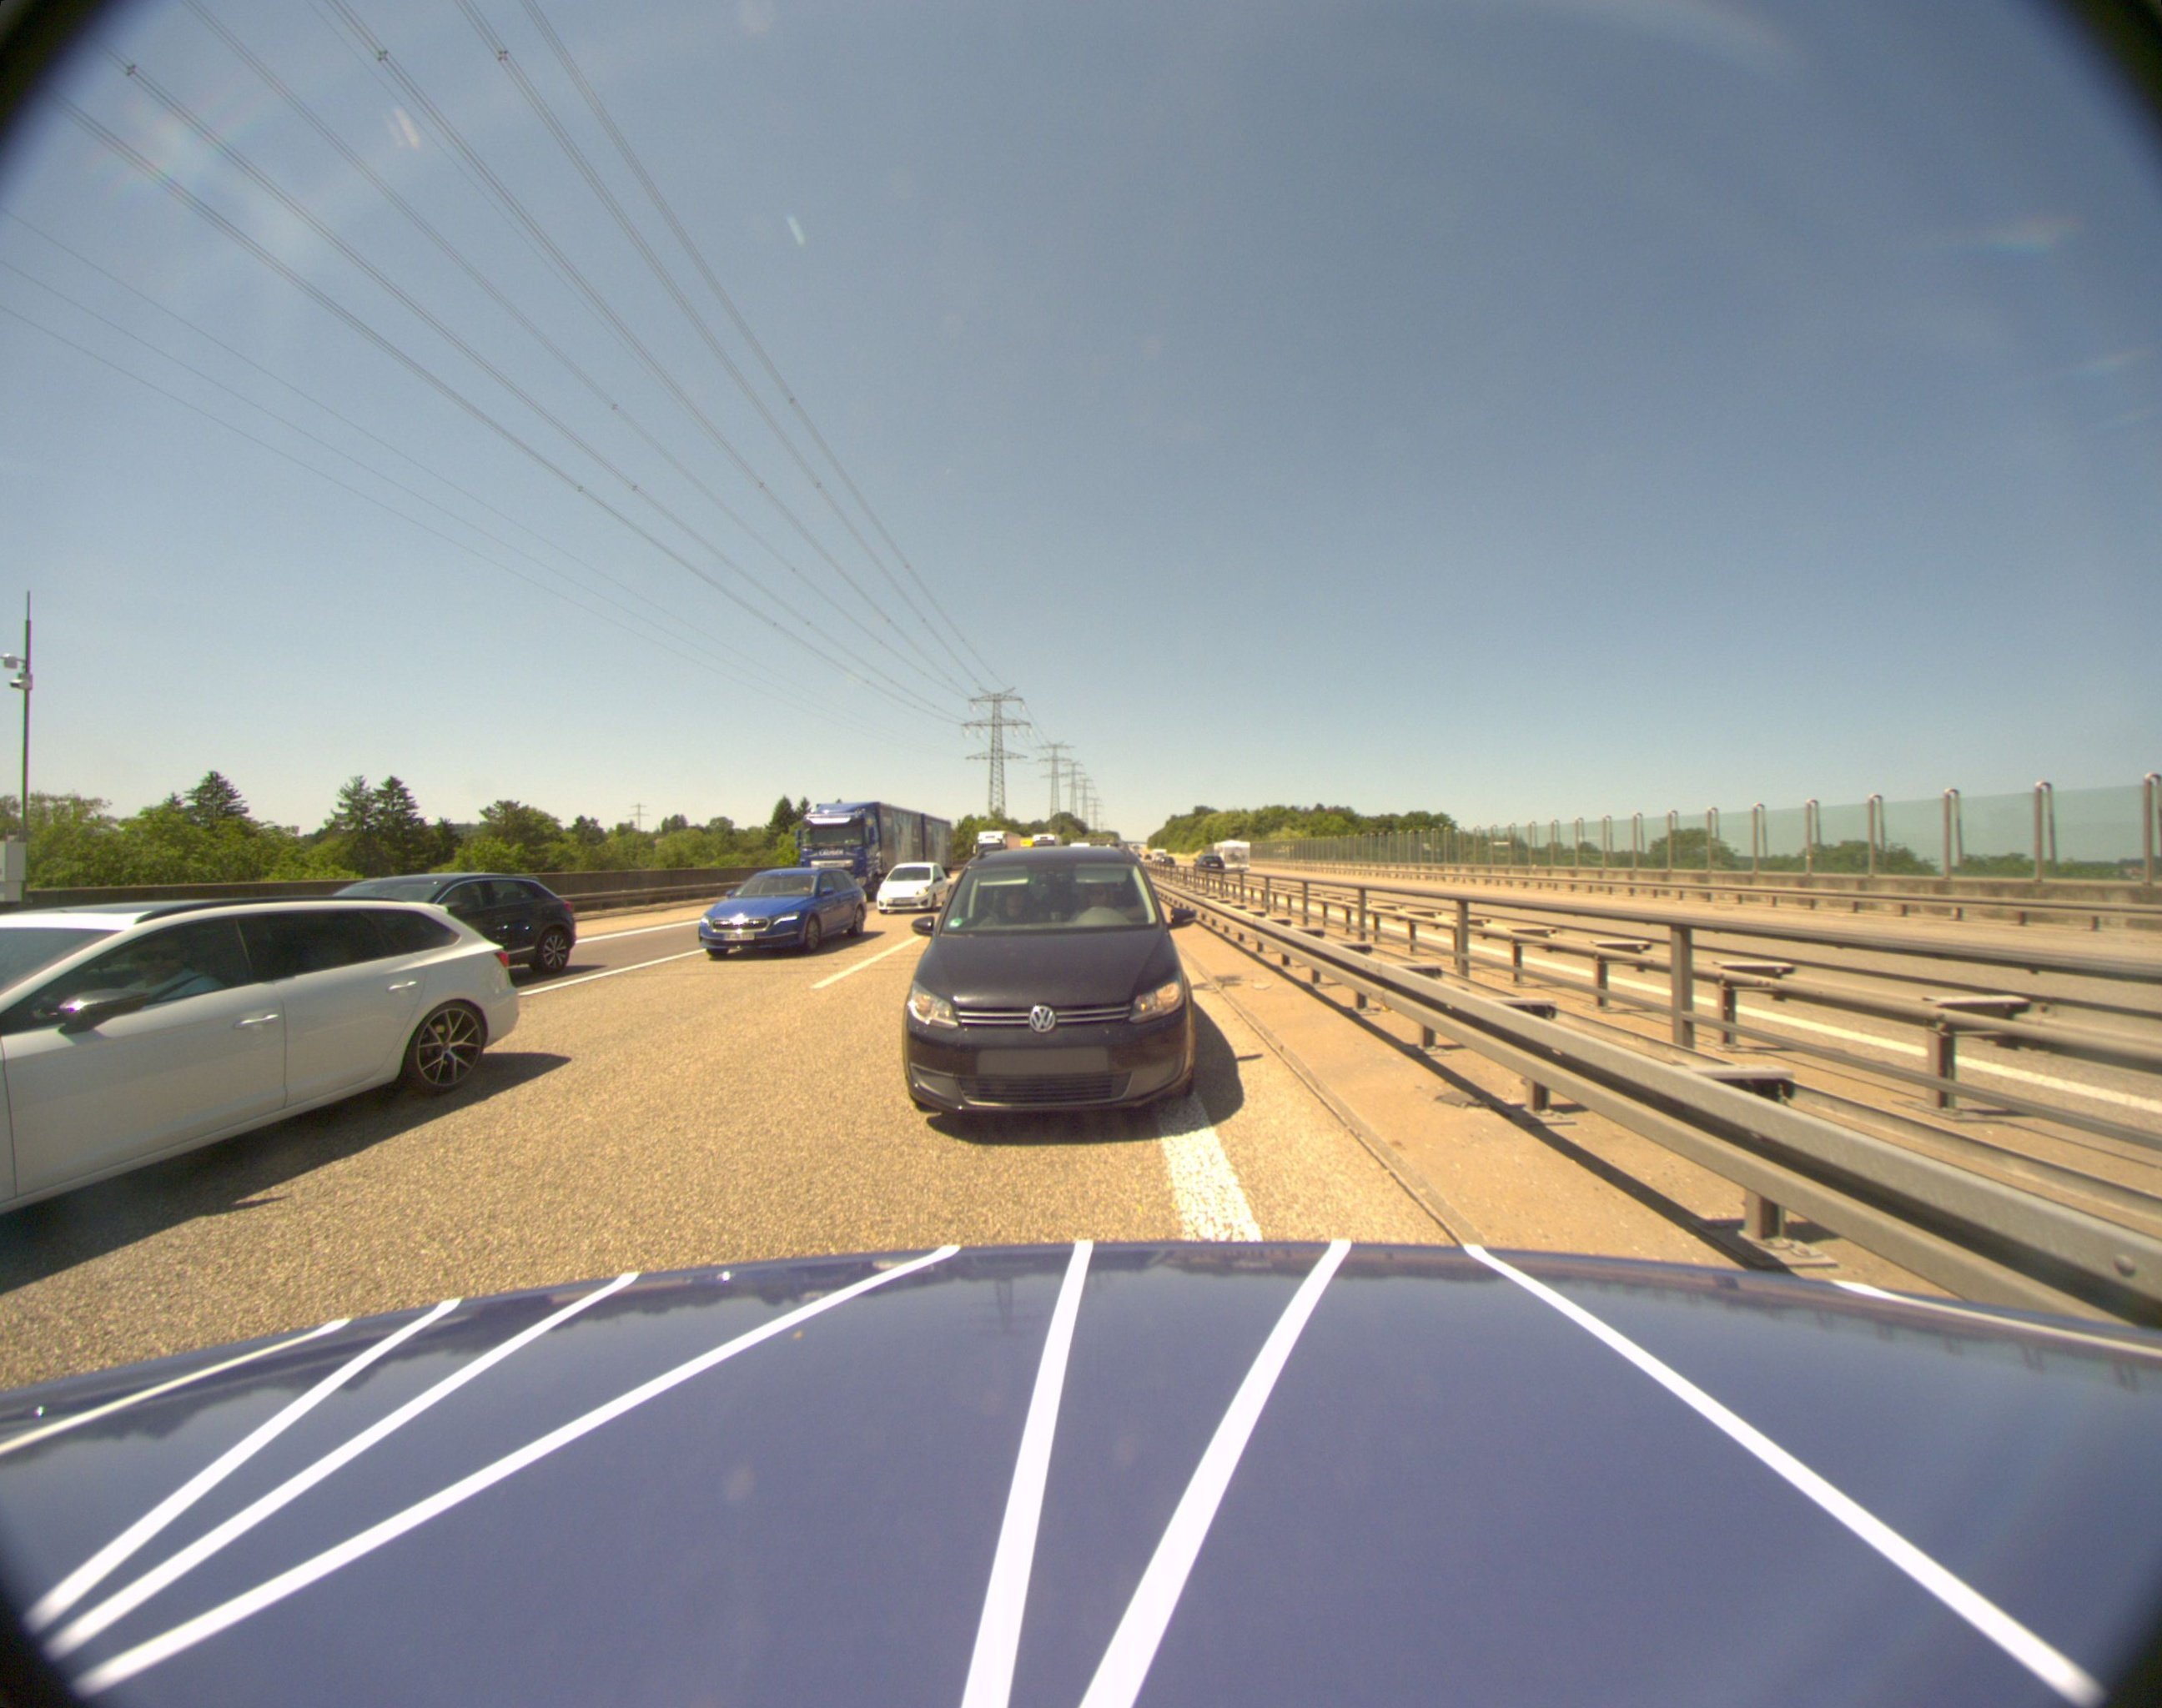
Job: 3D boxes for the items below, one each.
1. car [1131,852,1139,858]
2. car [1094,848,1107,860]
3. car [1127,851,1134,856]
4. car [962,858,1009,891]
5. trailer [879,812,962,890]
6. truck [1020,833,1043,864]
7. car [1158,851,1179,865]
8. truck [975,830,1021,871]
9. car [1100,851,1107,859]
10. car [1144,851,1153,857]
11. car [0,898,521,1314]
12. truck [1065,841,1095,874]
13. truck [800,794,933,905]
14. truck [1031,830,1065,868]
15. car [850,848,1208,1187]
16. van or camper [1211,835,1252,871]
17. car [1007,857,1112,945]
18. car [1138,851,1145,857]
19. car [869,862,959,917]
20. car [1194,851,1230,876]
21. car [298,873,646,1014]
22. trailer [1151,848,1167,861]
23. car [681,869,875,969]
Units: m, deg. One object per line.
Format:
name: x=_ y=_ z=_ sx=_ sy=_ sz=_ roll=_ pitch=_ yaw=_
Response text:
car: x=13.333 y=0.162 z=188.613 sx=1.672 sy=1.439 sz=4.001 roll=2 pitch=0 yaw=2
car: x=3.368 y=0.038 z=131.267 sx=1.998 sy=2.002 sz=4.000 roll=-2 pitch=1 yaw=1
car: x=14.235 y=-0.064 z=218.071 sx=1.672 sy=1.439 sz=4.001 roll=2 pitch=0 yaw=2
car: x=-4.629 y=0.963 z=37.380 sx=1.763 sy=1.495 sz=4.094 roll=-1 pitch=0 yaw=0
trailer: x=-8.815 y=-0.166 z=42.937 sx=2.572 sy=3.922 sz=8.479 roll=-2 pitch=0 yaw=1
truck: x=-6.914 y=-0.728 z=106.461 sx=2.346 sy=4.058 sz=8.278 roll=-2 pitch=0 yaw=1
car: x=10.150 y=0.444 z=88.518 sx=1.872 sy=1.523 sz=4.424 roll=2 pitch=0 yaw=1
truck: x=-7.841 y=-0.361 z=73.491 sx=2.985 sy=3.538 sz=10.967 roll=-2 pitch=0 yaw=1
car: x=5.737 y=0.245 z=195.468 sx=1.805 sy=2.002 sz=4.000 roll=0 pitch=0 yaw=1
car: x=16.990 y=0.090 z=190.848 sx=1.734 sy=1.483 sz=4.419 roll=1 pitch=0 yaw=0
car: x=-5.254 y=1.119 z=3.814 sx=1.843 sy=1.481 sz=4.071 roll=-2 pitch=0 yaw=-1
truck: x=-0.038 y=0.243 z=62.059 sx=2.284 sy=2.479 sz=5.861 roll=-2 pitch=0 yaw=1
truck: x=-8.983 y=-0.192 z=33.464 sx=2.529 sy=4.043 sz=10.447 roll=-2 pitch=0 yaw=1
truck: x=-3.602 y=-0.574 z=85.555 sx=2.980 sy=3.832 sz=10.562 roll=-2 pitch=0 yaw=1
car: x=-0.246 y=0.811 z=5.822 sx=1.740 sy=1.652 sz=4.000 roll=-2 pitch=0 yaw=0
van or camper: x=13.635 y=-0.093 z=69.174 sx=2.428 sy=3.006 sz=7.026 roll=1 pitch=0 yaw=1
car: x=-0.357 y=0.847 z=15.689 sx=1.845 sy=1.495 sz=4.377 roll=-1 pitch=0 yaw=1
car: x=19.620 y=0.019 z=248.081 sx=1.998 sy=2.002 sz=4.000 roll=0 pitch=0 yaw=1
car: x=-5.079 y=1.038 z=23.713 sx=1.762 sy=1.495 sz=4.095 roll=-1 pitch=0 yaw=2
car: x=9.468 y=0.644 z=55.190 sx=1.872 sy=1.690 sz=4.430 roll=-1 pitch=0 yaw=0
car: x=-8.532 y=1.136 z=11.236 sx=1.740 sy=1.518 sz=4.106 roll=-2 pitch=0 yaw=1
trailer: x=15.284 y=0.053 z=148.931 sx=2.499 sy=2.534 sz=6.774 roll=1 pitch=0 yaw=1
car: x=-5.338 y=1.071 z=14.057 sx=1.739 sy=1.437 sz=4.211 roll=-1 pitch=0 yaw=2
